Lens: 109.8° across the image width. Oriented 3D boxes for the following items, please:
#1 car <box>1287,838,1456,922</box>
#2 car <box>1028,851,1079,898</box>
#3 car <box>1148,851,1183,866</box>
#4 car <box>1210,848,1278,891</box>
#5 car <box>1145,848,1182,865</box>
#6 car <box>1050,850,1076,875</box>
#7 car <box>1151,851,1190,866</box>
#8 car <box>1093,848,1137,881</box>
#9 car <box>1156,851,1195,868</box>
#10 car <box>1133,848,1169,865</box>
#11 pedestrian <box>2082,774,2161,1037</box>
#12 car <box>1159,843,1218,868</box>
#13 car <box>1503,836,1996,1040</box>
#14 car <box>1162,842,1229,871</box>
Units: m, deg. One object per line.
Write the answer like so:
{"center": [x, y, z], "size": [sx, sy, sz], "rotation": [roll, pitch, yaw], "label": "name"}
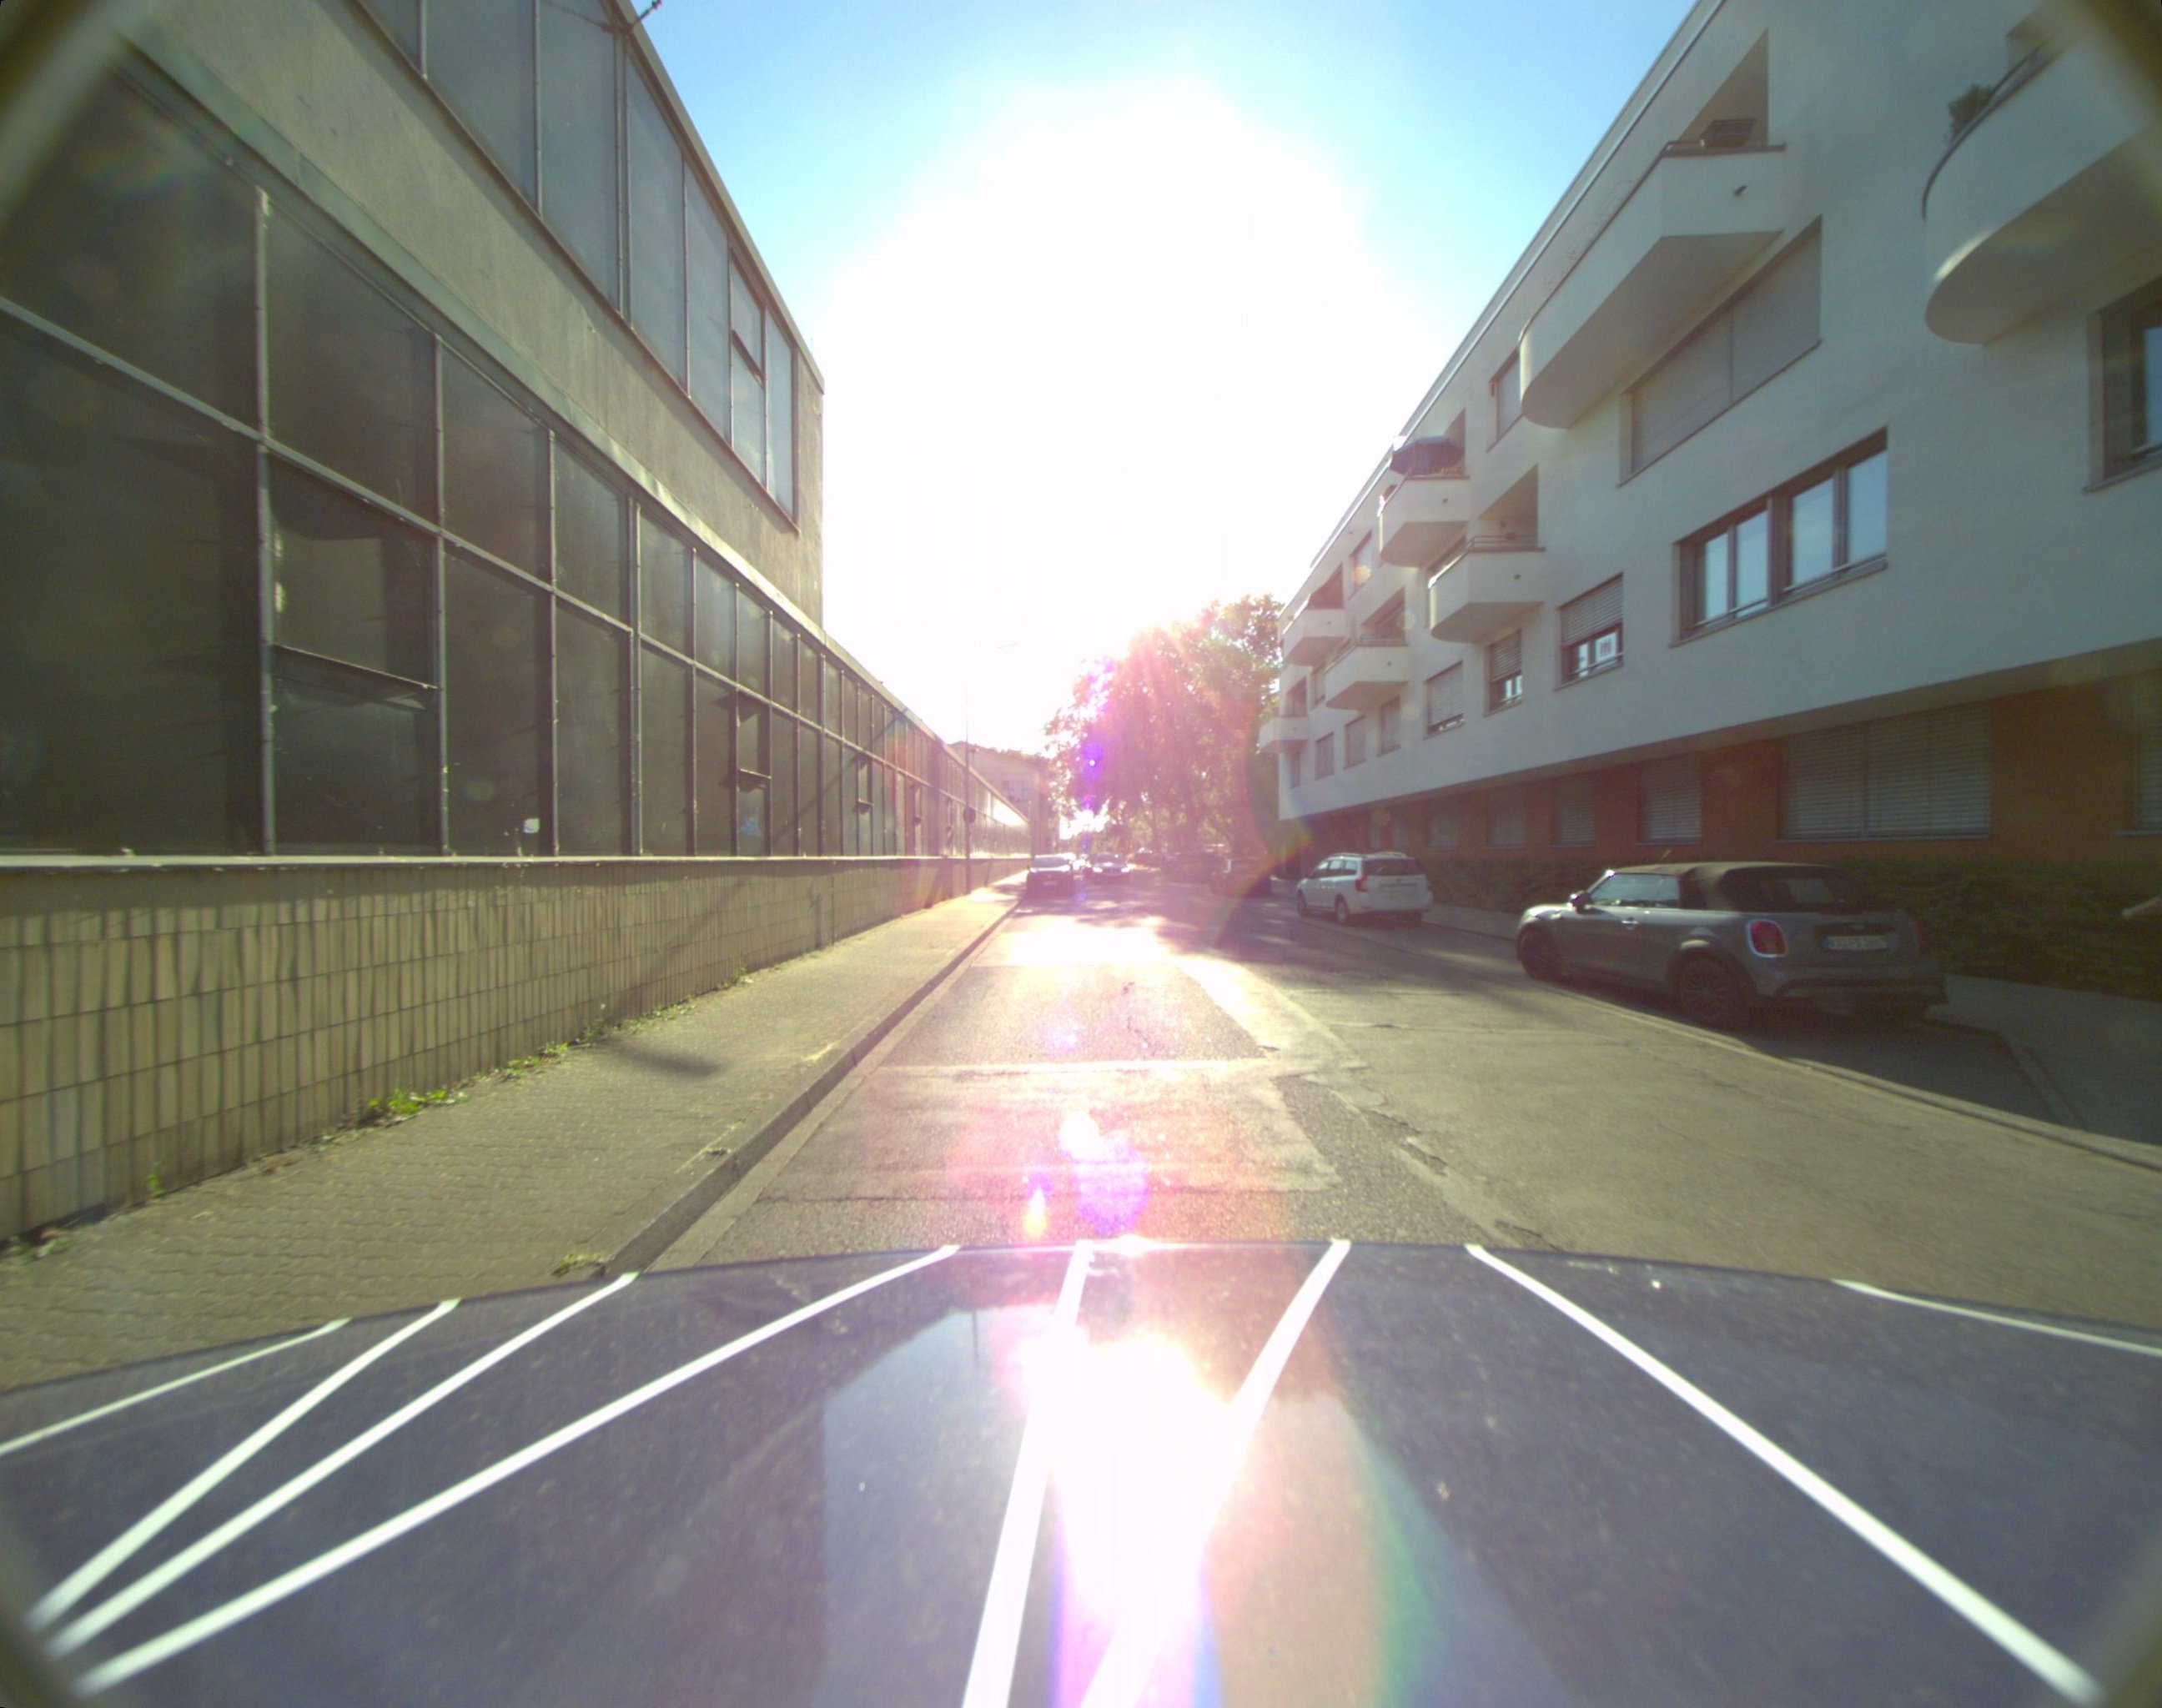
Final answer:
{"center": [6.413, 0.485, 17.436], "size": [1.863, 1.578, 4.619], "rotation": [-3, 1, -3], "label": "car"}
{"center": [-1.073, 0.749, 30.056], "size": [1.812, 1.578, 4.403], "rotation": [-3, 1, -2], "label": "car"}
{"center": [9.756, 0.520, 88.008], "size": [3.603, 1.552, 1.647], "rotation": [-2, 1, -18], "label": "car"}
{"center": [6.131, 0.531, 28.958], "size": [1.679, 1.425, 3.769], "rotation": [-3, 1, -1], "label": "car"}
{"center": [9.840, 0.312, 90.856], "size": [4.002, 1.871, 1.831], "rotation": [-2, 1, -17], "label": "car"}
{"center": [-1.299, 0.589, 53.358], "size": [1.755, 1.625, 4.000], "rotation": [-2, 1, -3], "label": "car"}
{"center": [10.107, 0.483, 85.669], "size": [4.002, 1.615, 1.795], "rotation": [-1, 1, -15], "label": "car"}
{"center": [1.734, 0.495, 39.742], "size": [1.855, 1.527, 3.855], "rotation": [-3, 1, -3], "label": "car"}
{"center": [9.846, 0.534, 79.193], "size": [3.655, 1.652, 1.646], "rotation": [-2, 1, -26], "label": "car"}
{"center": [8.634, 0.312, 93.389], "size": [4.005, 1.876, 1.713], "rotation": [-2, 1, -27], "label": "car"}
{"center": [7.760, 0.328, 5.029], "size": [0.862, 1.808, 1.133], "rotation": [-4, 0, 24], "label": "pedestrian"}
{"center": [8.490, 0.118, 59.993], "size": [4.274, 1.765, 1.902], "rotation": [-2, 1, -23], "label": "car"}
{"center": [6.328, 0.634, 7.893], "size": [1.672, 1.527, 3.856], "rotation": [-3, 1, 0], "label": "car"}
{"center": [7.247, 0.147, 48.096], "size": [3.965, 1.653, 1.696], "rotation": [-2, 1, -28], "label": "car"}
